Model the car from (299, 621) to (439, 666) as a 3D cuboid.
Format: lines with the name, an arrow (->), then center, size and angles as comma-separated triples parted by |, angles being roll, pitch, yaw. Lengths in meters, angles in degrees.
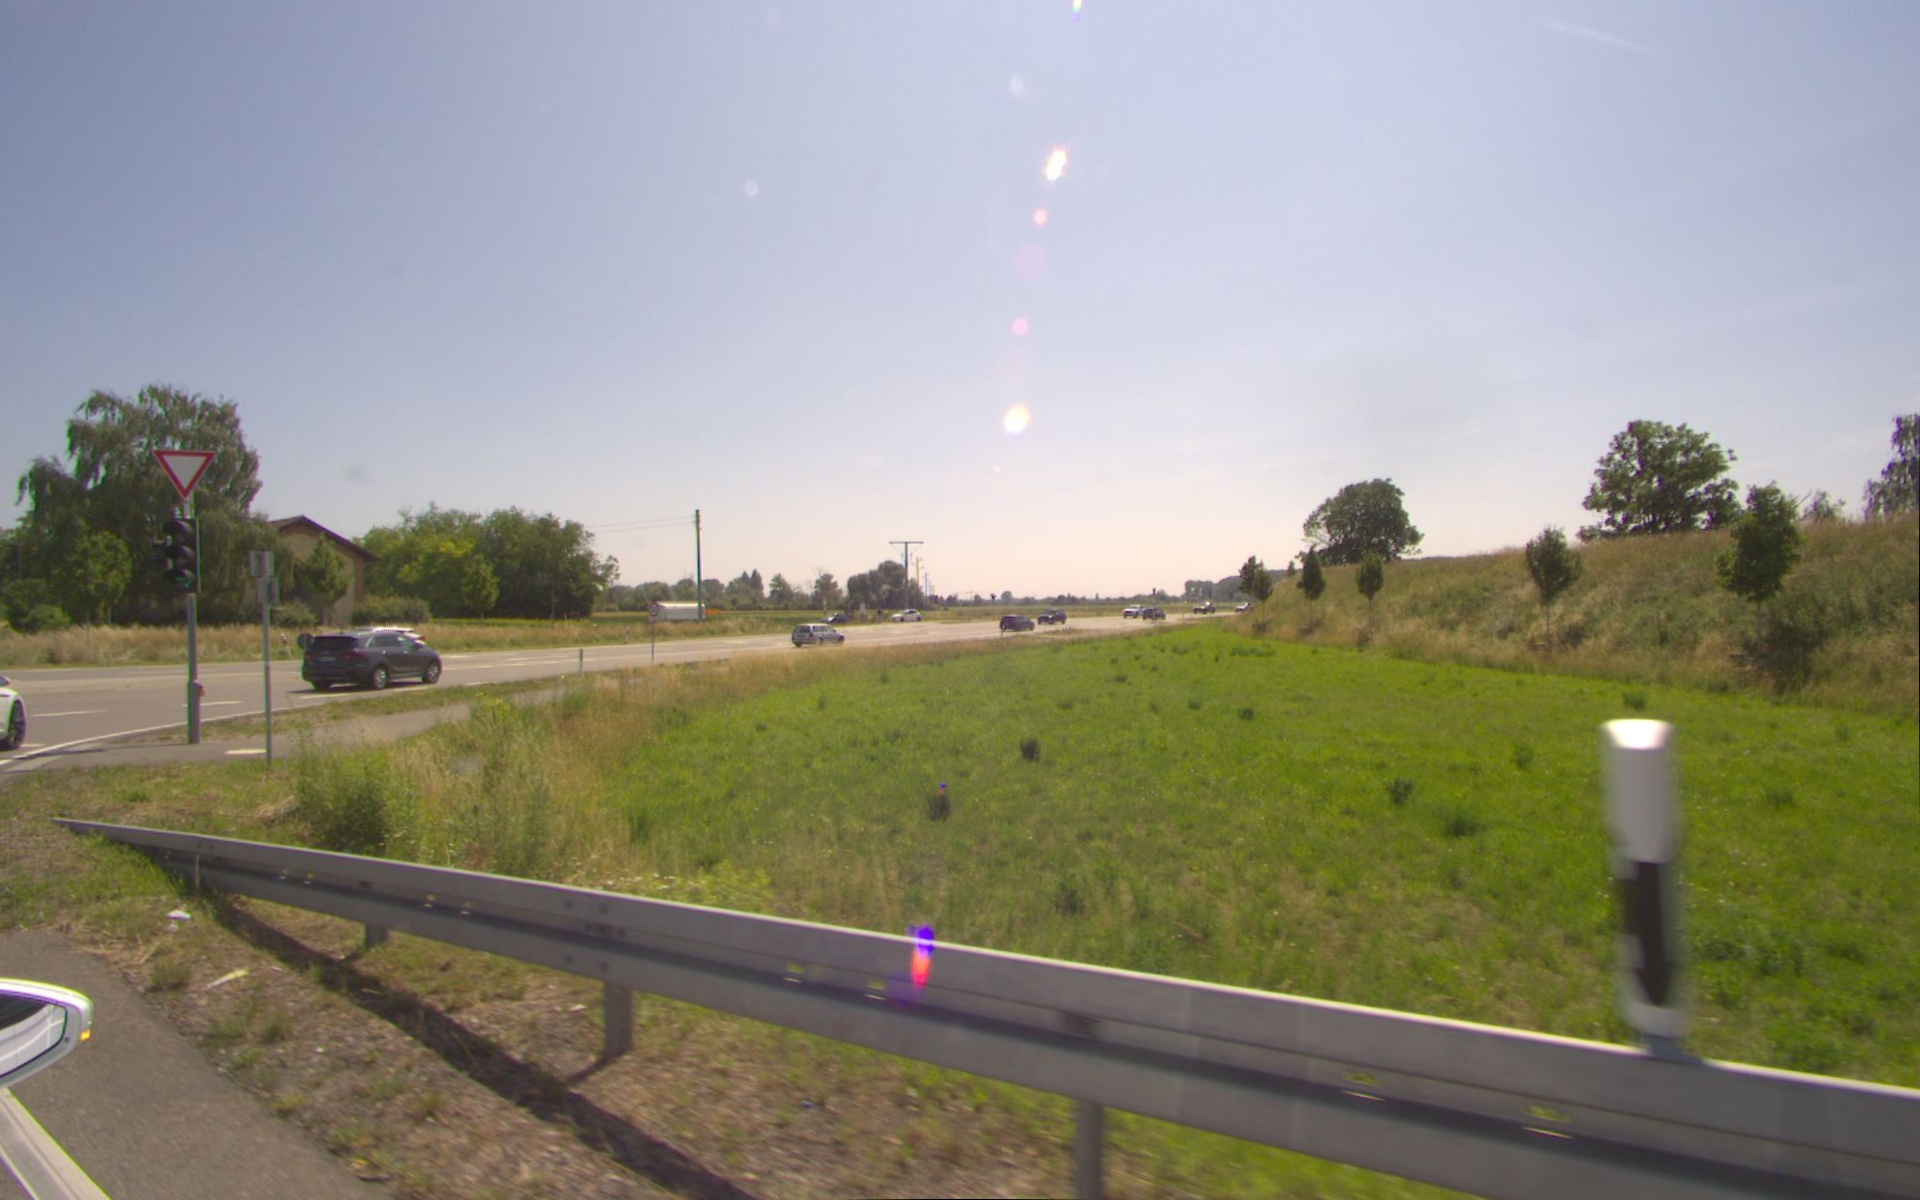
car -> -23.256, 1.675, 39.607 | 1.841, 1.564, 4.535 | 1, 0, 26

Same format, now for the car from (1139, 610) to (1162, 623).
car -> 23.439, 2.089, 123.297 | 1.777, 1.541, 3.869 | -2, -2, 27

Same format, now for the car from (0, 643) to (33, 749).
car -> -13.564, 1.281, 12.654 | 1.828, 1.452, 4.584 | 0, -2, -31

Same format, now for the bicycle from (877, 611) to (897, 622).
bicycle -> -9.731, 2.149, 133.900 | 2.568, 1.389, 0.902 | -2, -2, 14

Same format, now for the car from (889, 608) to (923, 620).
car -> -6.545, 1.723, 121.520 | 3.989, 1.350, 1.683 | 1, 0, -37

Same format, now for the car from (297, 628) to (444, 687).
car -> -17.586, 1.687, 30.154 | 1.903, 1.637, 4.380 | -1, -2, -1

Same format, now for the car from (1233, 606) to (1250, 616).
car -> 44.877, 1.777, 159.504 | 1.711, 1.576, 4.397 | -1, -2, 29

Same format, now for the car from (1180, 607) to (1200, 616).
car -> 36.102, 1.765, 157.255 | 2.054, 1.344, 4.398 | -1, -2, 28

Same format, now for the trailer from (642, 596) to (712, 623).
trailer -> -26.610, 0.849, 94.439 | 2.645, 2.489, 6.354 | 1, 1, 29

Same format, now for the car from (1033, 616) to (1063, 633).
car -> 9.504, 2.601, 108.111 | 1.842, 1.672, 4.311 | 1, 0, 26

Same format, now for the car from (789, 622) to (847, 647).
car -> -8.798, 2.148, 62.438 | 1.775, 1.447, 4.084 | -1, -2, 22

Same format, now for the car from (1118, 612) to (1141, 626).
car -> 22.067, 2.427, 130.336 | 1.852, 1.672, 4.829 | 1, 0, 24

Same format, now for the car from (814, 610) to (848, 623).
car -> -14.215, 1.798, 110.180 | 1.655, 1.405, 3.818 | 1, 0, 33

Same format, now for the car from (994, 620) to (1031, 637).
car -> 4.791, 2.595, 90.548 | 1.777, 1.495, 4.401 | -1, -2, 26
